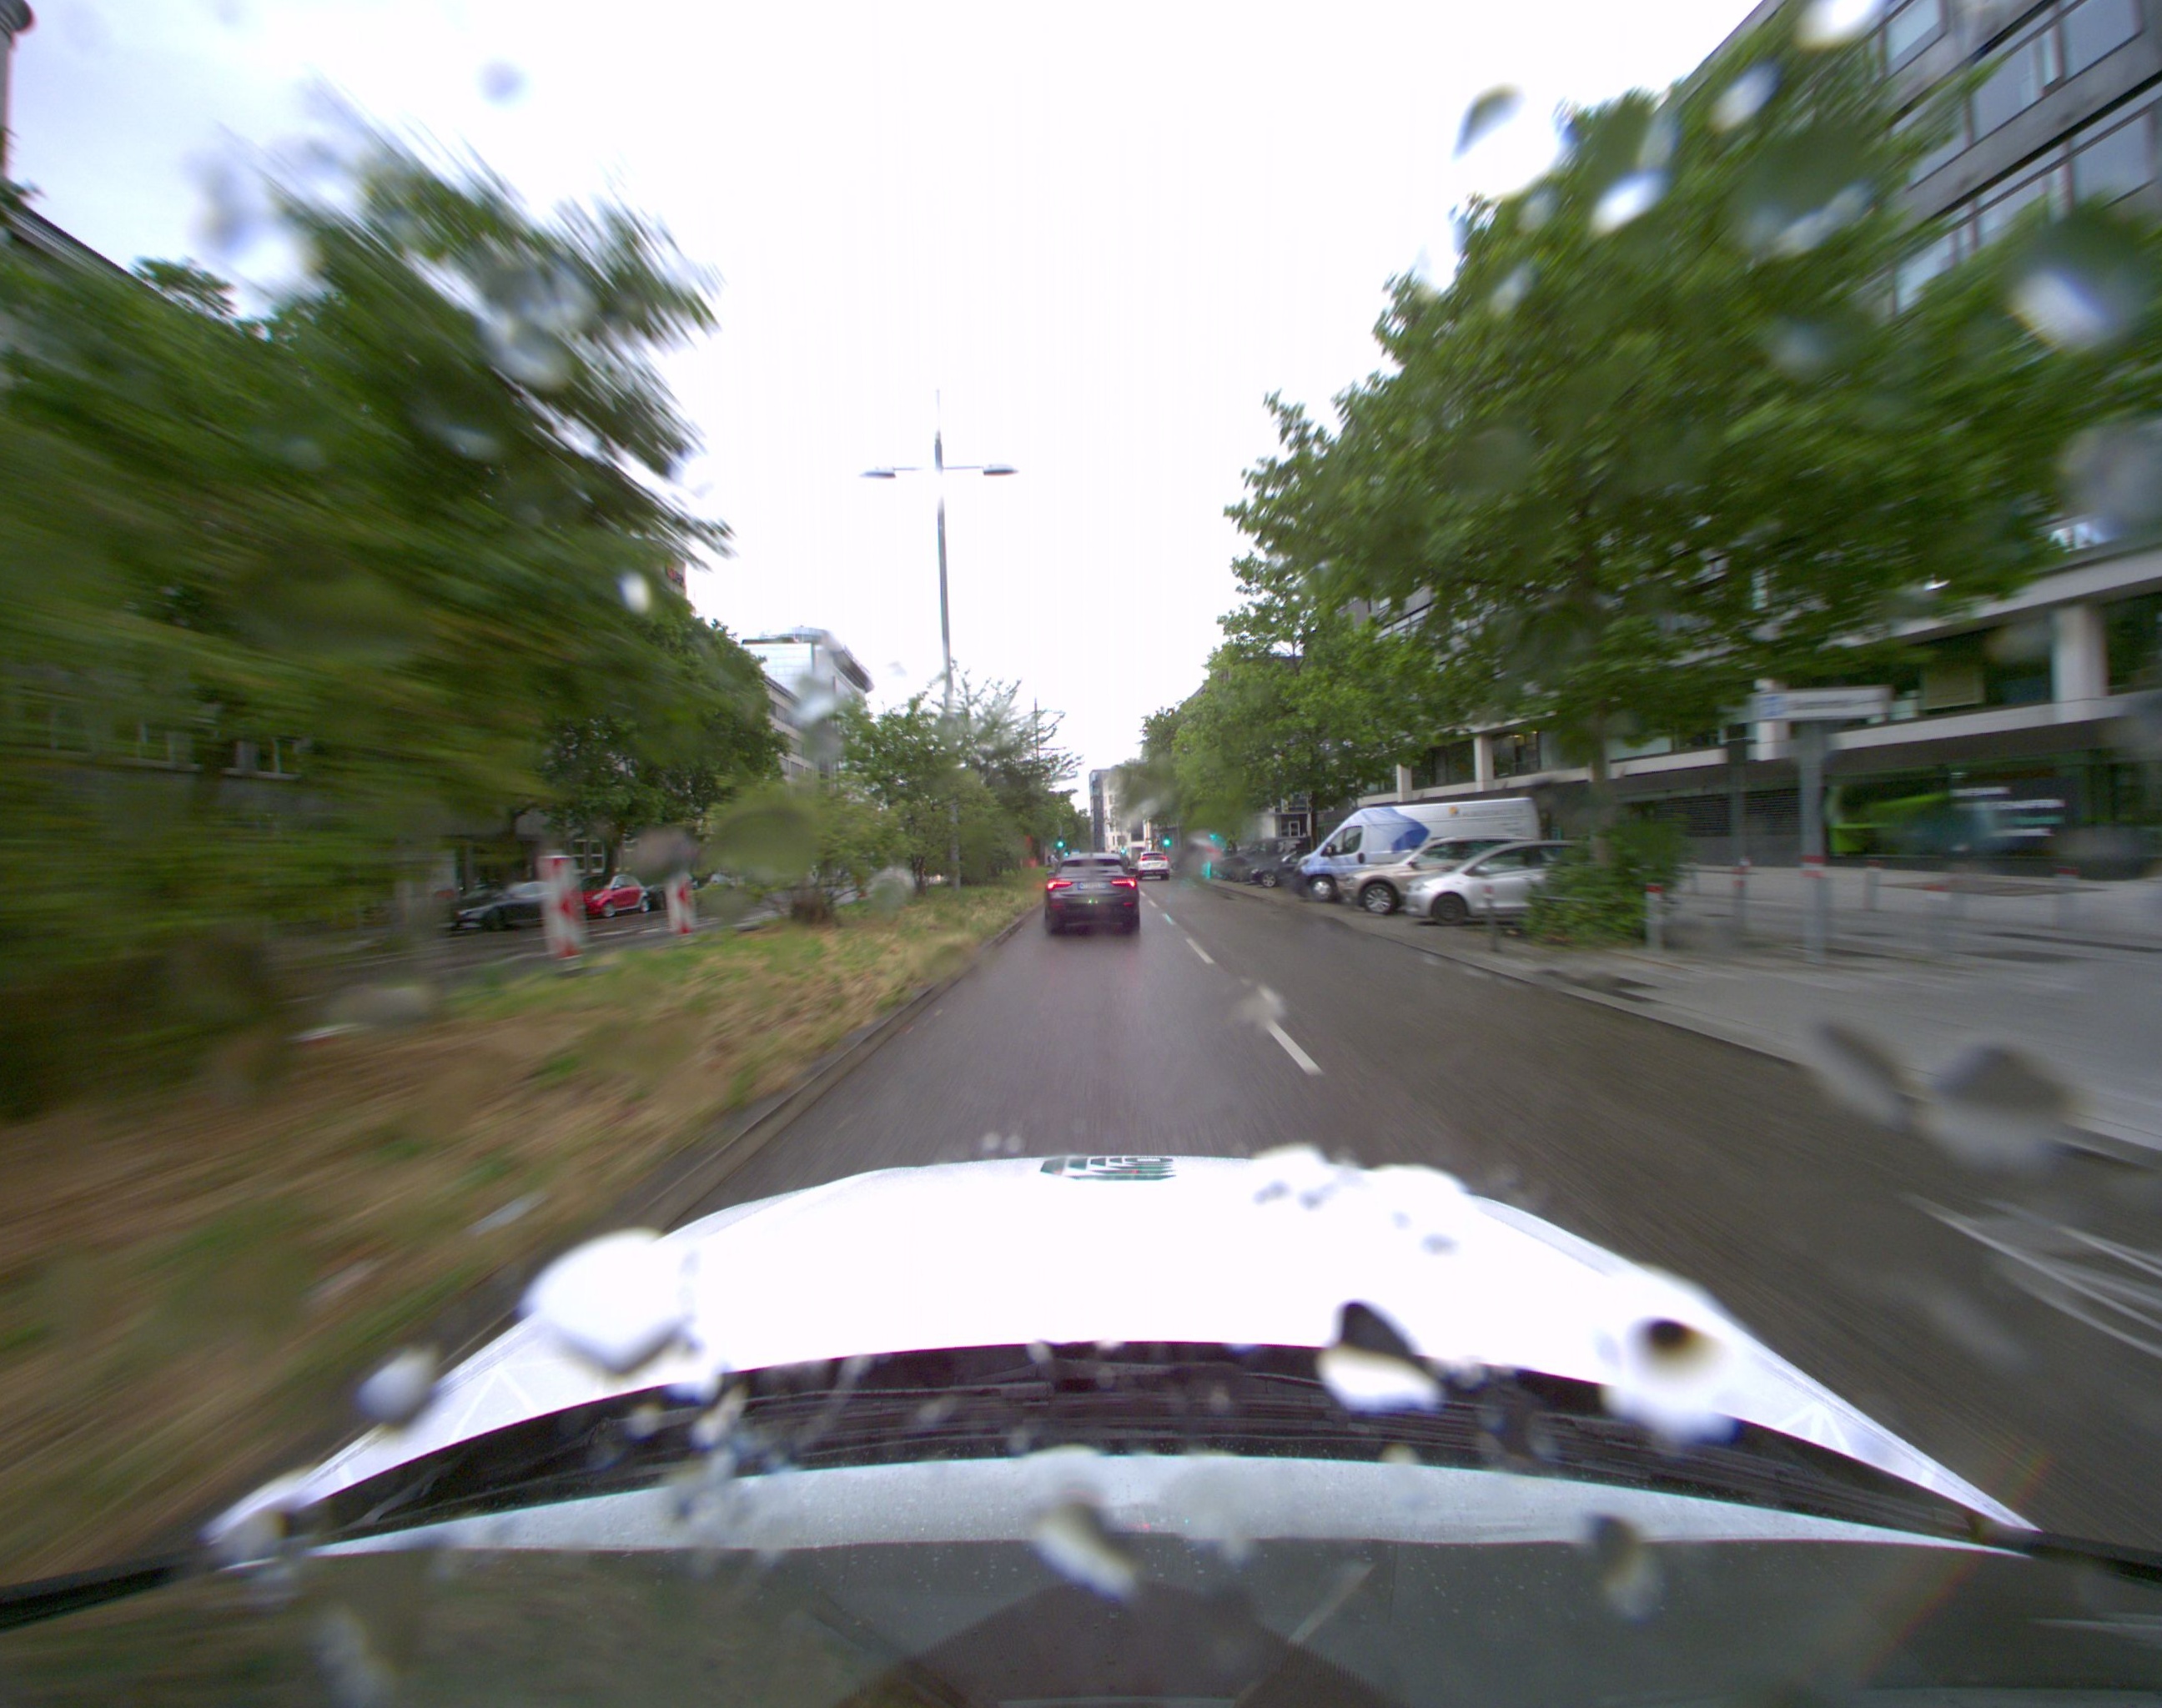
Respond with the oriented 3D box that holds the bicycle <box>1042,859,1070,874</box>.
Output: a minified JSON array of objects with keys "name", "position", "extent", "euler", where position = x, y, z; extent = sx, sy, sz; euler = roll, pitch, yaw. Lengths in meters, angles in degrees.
[{"name":"bicycle","position":[-1.994,1.000,65.218],"extent":[2.246,1.162,0.751],"euler":[1,-1,1]}]

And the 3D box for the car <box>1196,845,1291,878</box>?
[{"name":"car","position":[8.707,0.395,43.569],"extent":[4.738,1.534,1.877],"euler":[-3,0,16]}]

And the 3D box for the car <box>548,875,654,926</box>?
[{"name":"car","position":[-17.516,1.643,29.908],"extent":[1.682,1.519,3.623],"euler":[-5,0,-2]}]

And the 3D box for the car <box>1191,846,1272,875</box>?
[{"name":"car","position":[8.892,0.386,48.218],"extent":[4.252,1.488,1.855],"euler":[-3,0,31]}]

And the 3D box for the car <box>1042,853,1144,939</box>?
[{"name":"car","position":[0.284,0.762,16.992],"extent":[1.842,1.523,4.040],"euler":[-2,0,2]}]

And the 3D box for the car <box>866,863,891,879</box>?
[{"name":"car","position":[-21.099,1.747,84.886],"extent":[1.872,1.536,4.069],"euler":[-3,-1,-6]}]

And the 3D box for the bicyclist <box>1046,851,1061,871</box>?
[{"name":"bicyclist","position":[-2.194,0.575,65.233],"extent":[1.100,1.622,0.751],"euler":[1,-1,1]}]

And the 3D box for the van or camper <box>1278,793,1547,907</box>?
[{"name":"van or camper","position":[8.315,-0.015,20.681],"extent":[6.008,2.558,2.118],"euler":[-2,-1,29]}]

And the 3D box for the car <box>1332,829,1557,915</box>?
[{"name":"car","position":[7.785,0.381,17.588],"extent":[4.216,1.667,1.829],"euler":[-1,0,28]}]

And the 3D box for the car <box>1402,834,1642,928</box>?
[{"name":"car","position":[7.813,0.473,14.822],"extent":[3.617,1.547,1.724],"euler":[-1,0,21]}]

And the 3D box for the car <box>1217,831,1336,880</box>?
[{"name":"car","position":[9.003,0.092,37.545],"extent":[4.890,1.978,1.941],"euler":[-3,0,28]}]

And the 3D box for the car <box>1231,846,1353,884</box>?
[{"name":"car","position":[8.933,0.485,34.574],"extent":[4.578,1.394,1.859],"euler":[-3,-1,30]}]

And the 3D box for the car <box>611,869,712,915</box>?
[{"name":"car","position":[-17.966,1.570,35.152],"extent":[1.763,1.652,4.841],"euler":[-5,0,-1]}]

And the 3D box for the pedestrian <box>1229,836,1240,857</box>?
[{"name":"pedestrian","position":[15.711,-0.717,83.267],"extent":[0.929,2.115,1.079],"euler":[-1,-1,14]}]

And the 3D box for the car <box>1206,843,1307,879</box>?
[{"name":"car","position":[8.702,0.346,40.374],"extent":[4.511,1.507,1.880],"euler":[-3,0,26]}]

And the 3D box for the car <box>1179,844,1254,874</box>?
[{"name":"car","position":[8.579,0.305,51.582],"extent":[4.177,1.669,1.850],"euler":[-3,0,29]}]

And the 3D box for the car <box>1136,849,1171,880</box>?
[{"name":"car","position":[4.206,0.588,47.710],"extent":[1.842,1.669,4.041],"euler":[-2,0,3]}]

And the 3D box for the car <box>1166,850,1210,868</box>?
[{"name":"car","position":[9.938,0.475,75.748],"extent":[3.815,1.568,1.678],"euler":[-2,-1,44]}]

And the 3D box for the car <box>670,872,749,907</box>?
[{"name":"car","position":[-18.483,1.718,40.771],"extent":[1.763,1.394,4.651],"euler":[-5,0,-2]}]

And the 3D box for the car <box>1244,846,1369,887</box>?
[{"name":"car","position":[8.712,0.479,31.553],"extent":[4.323,1.436,1.773],"euler":[-2,-1,28]}]

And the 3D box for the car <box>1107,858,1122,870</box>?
[{"name":"car","position":[4.279,1.266,103.963],"extent":[1.842,1.523,4.041],"euler":[-2,0,3]}]

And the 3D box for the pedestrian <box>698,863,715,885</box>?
[{"name":"pedestrian","position":[-29.395,1.585,63.940],"extent":[0.993,1.645,0.675],"euler":[-2,0,-8]}]

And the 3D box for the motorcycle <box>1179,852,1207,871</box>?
[{"name":"motorcycle","position":[8.420,0.555,61.323],"extent":[2.015,1.415,0.728],"euler":[-1,-1,10]}]

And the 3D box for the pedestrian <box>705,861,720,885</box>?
[{"name":"pedestrian","position":[-29.342,1.500,64.800],"extent":[0.840,1.918,0.676],"euler":[-2,0,-3]}]

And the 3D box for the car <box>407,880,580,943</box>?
[{"name":"car","position":[-17.624,1.664,24.777],"extent":[1.763,1.434,4.671],"euler":[-5,0,0]}]

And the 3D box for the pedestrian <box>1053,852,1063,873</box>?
[{"name":"pedestrian","position":[-1.968,0.747,69.807],"extent":[0.657,1.793,0.753],"euler":[-1,-1,14]}]
